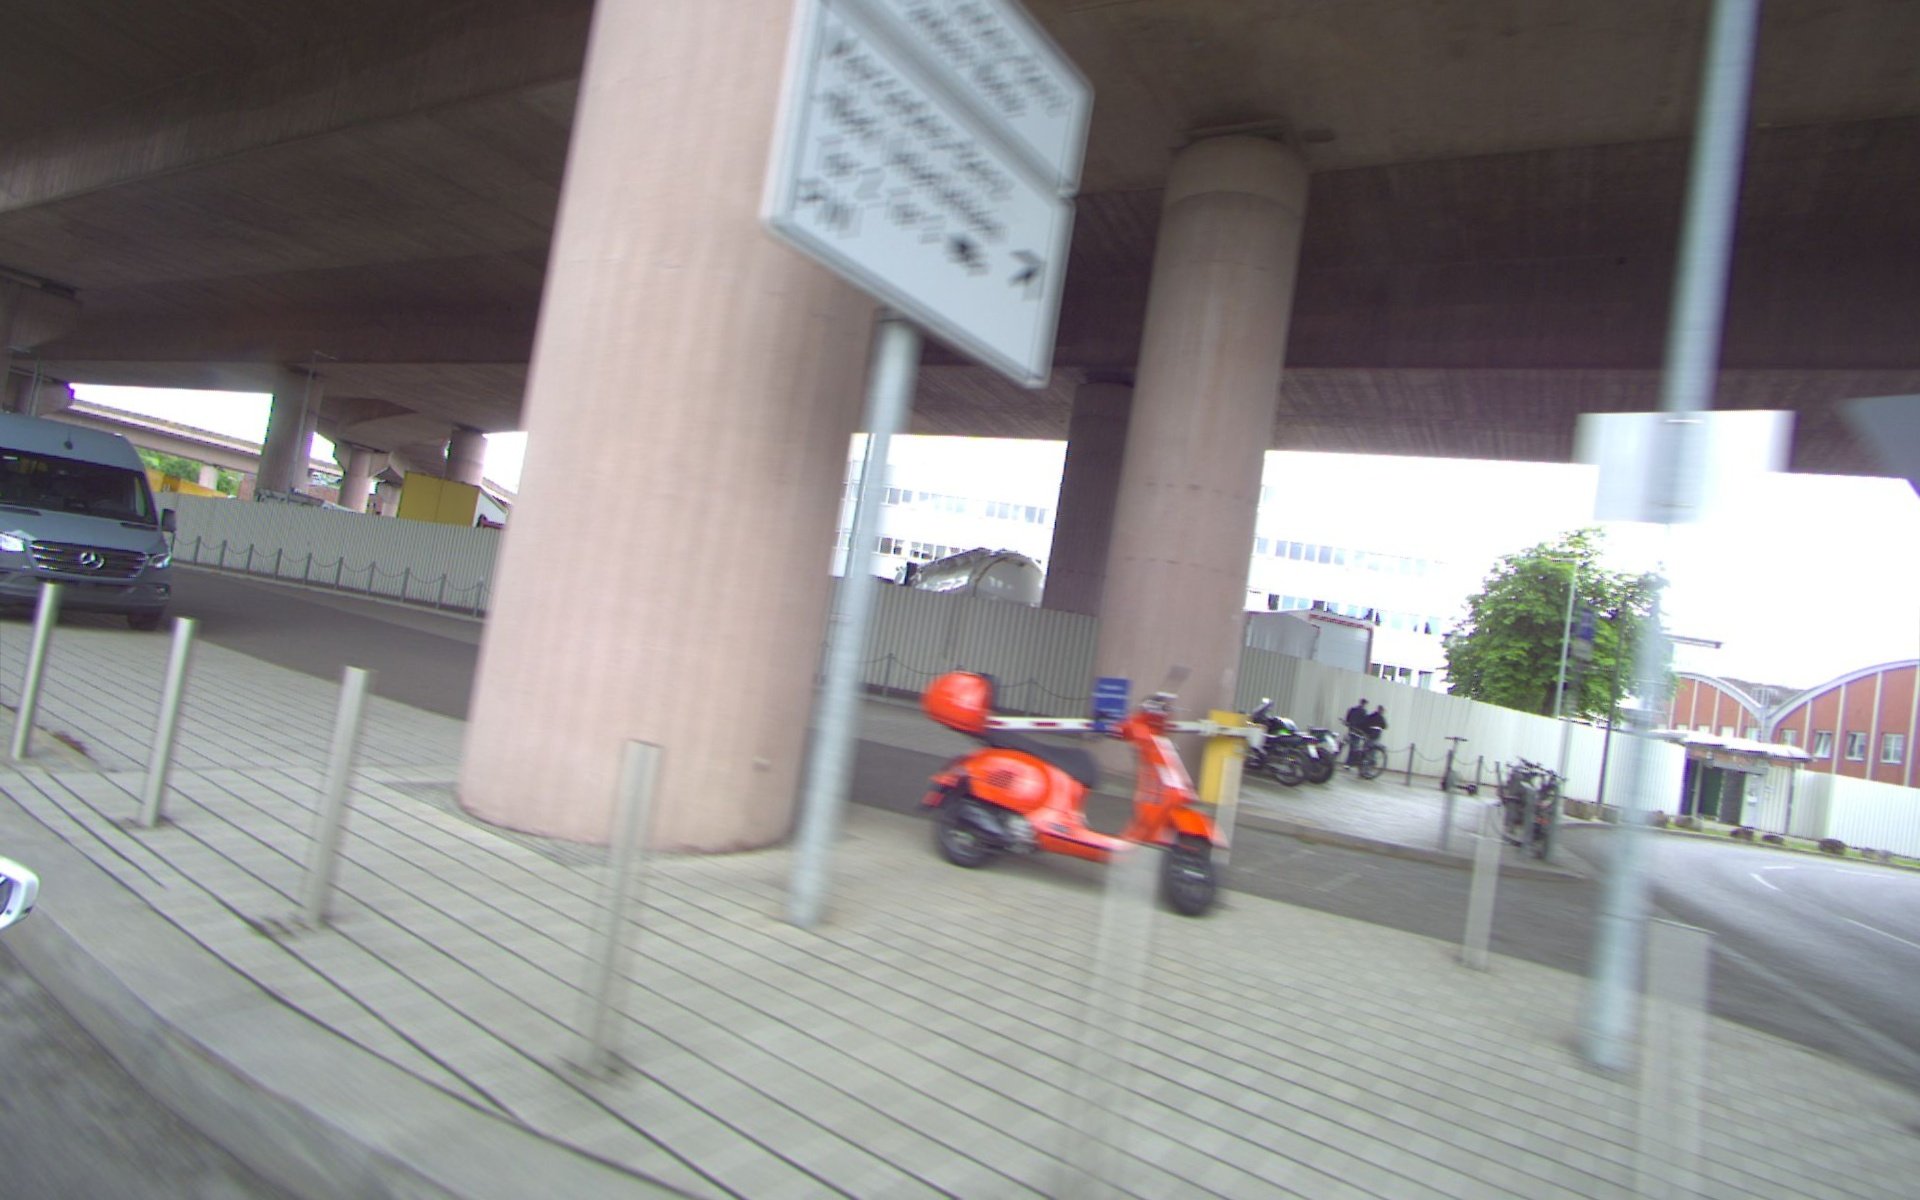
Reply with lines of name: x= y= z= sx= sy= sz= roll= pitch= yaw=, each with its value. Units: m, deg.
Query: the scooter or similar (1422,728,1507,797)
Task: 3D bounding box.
scooter or similar: x=11.488 y=3.703 z=22.914 sx=1.657 sy=1.232 sz=0.542 roll=12 pitch=0 yaw=-17

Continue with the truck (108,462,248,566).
truck: x=-47.374 y=-5.024 z=61.354 sx=3.102 sy=4.956 sz=8.696 roll=9 pitch=-3 yaw=-16

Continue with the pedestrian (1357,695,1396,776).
pedestrian: x=9.980 y=3.240 z=24.109 sx=0.498 sy=1.847 sz=0.694 roll=7 pitch=-2 yaw=37

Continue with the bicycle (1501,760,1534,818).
bicycle: x=10.915 y=3.677 z=19.717 sx=0.429 sy=0.993 sz=1.735 roll=9 pitch=-3 yaw=29

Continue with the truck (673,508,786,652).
truck: x=-8.698 y=-0.613 z=36.878 sx=2.773 sy=4.206 sz=9.898 roll=8 pitch=-2 yaw=-17

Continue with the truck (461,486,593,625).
truck: x=-16.184 y=-1.471 z=38.400 sx=2.855 sy=4.231 sz=10.037 roll=8 pitch=-2 yaw=-16

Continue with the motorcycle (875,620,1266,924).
motorcycle: x=0.684 y=0.983 z=6.194 sx=2.089 sy=1.382 sz=0.799 roll=8 pitch=-1 yaw=14

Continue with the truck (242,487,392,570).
truck: x=-29.316 y=-3.111 z=46.423 sx=3.098 sy=2.980 sz=8.691 roll=6 pitch=0 yaw=-15

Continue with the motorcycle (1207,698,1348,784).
motorcycle: x=5.824 y=2.575 z=18.531 sx=2.290 sy=1.118 sz=0.544 roll=9 pitch=-2 yaw=30

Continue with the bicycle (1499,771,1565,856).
bicycle: x=7.985 y=2.952 z=14.095 sx=0.411 sy=0.936 sz=2.022 roll=9 pitch=-3 yaw=22

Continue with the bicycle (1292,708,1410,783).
bicycle: x=8.146 y=3.042 z=20.960 sx=2.300 sy=1.118 sz=0.617 roll=12 pitch=0 yaw=-20

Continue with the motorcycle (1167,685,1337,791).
motorcycle: x=4.888 y=2.291 z=16.949 sx=2.496 sy=1.249 sz=0.783 roll=9 pitch=-1 yaw=35

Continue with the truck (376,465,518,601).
truck: x=-20.745 y=-2.428 z=41.382 sx=3.102 sy=4.494 sz=9.693 roll=8 pitch=-2 yaw=-17

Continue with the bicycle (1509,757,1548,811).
bicycle: x=12.229 y=3.935 z=21.602 sx=0.390 sy=1.034 sz=2.060 roll=8 pitch=-3 yaw=36

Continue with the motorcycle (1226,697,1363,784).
motorcycle: x=6.454 y=2.693 z=19.447 sx=2.289 sy=1.118 sz=0.573 roll=12 pitch=0 yaw=29

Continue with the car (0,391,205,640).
car: x=-12.793 y=-1.194 z=13.778 sx=5.980 sy=2.643 sz=1.996 roll=7 pitch=-2 yaw=36

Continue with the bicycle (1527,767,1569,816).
bicycle: x=13.647 y=4.438 z=23.321 sx=0.430 sy=1.034 sz=1.730 roll=8 pitch=-3 yaw=40

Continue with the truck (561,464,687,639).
truck: x=-11.872 y=-1.480 z=35.899 sx=3.103 sy=4.979 sz=9.694 roll=8 pitch=-2 yaw=-17

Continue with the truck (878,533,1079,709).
truck: x=0.139 y=0.590 z=31.901 sx=2.968 sy=4.352 sz=10.267 roll=8 pitch=-2 yaw=-16

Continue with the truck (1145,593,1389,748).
truck: x=9.981 y=2.100 z=34.099 sx=2.870 sy=4.286 sz=8.736 roll=8 pitch=-2 yaw=-19

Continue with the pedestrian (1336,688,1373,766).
pedestrian: x=9.725 y=3.131 z=24.804 sx=0.498 sy=1.847 sz=0.643 roll=7 pitch=-2 yaw=37

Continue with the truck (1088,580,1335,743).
truck: x=7.583 y=1.720 z=32.075 sx=2.870 sy=4.206 sz=8.736 roll=8 pitch=-2 yaw=-19

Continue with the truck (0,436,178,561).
truck: x=-44.719 y=-4.963 z=52.018 sx=3.102 sy=4.970 sz=8.696 roll=9 pitch=-3 yaw=-16
